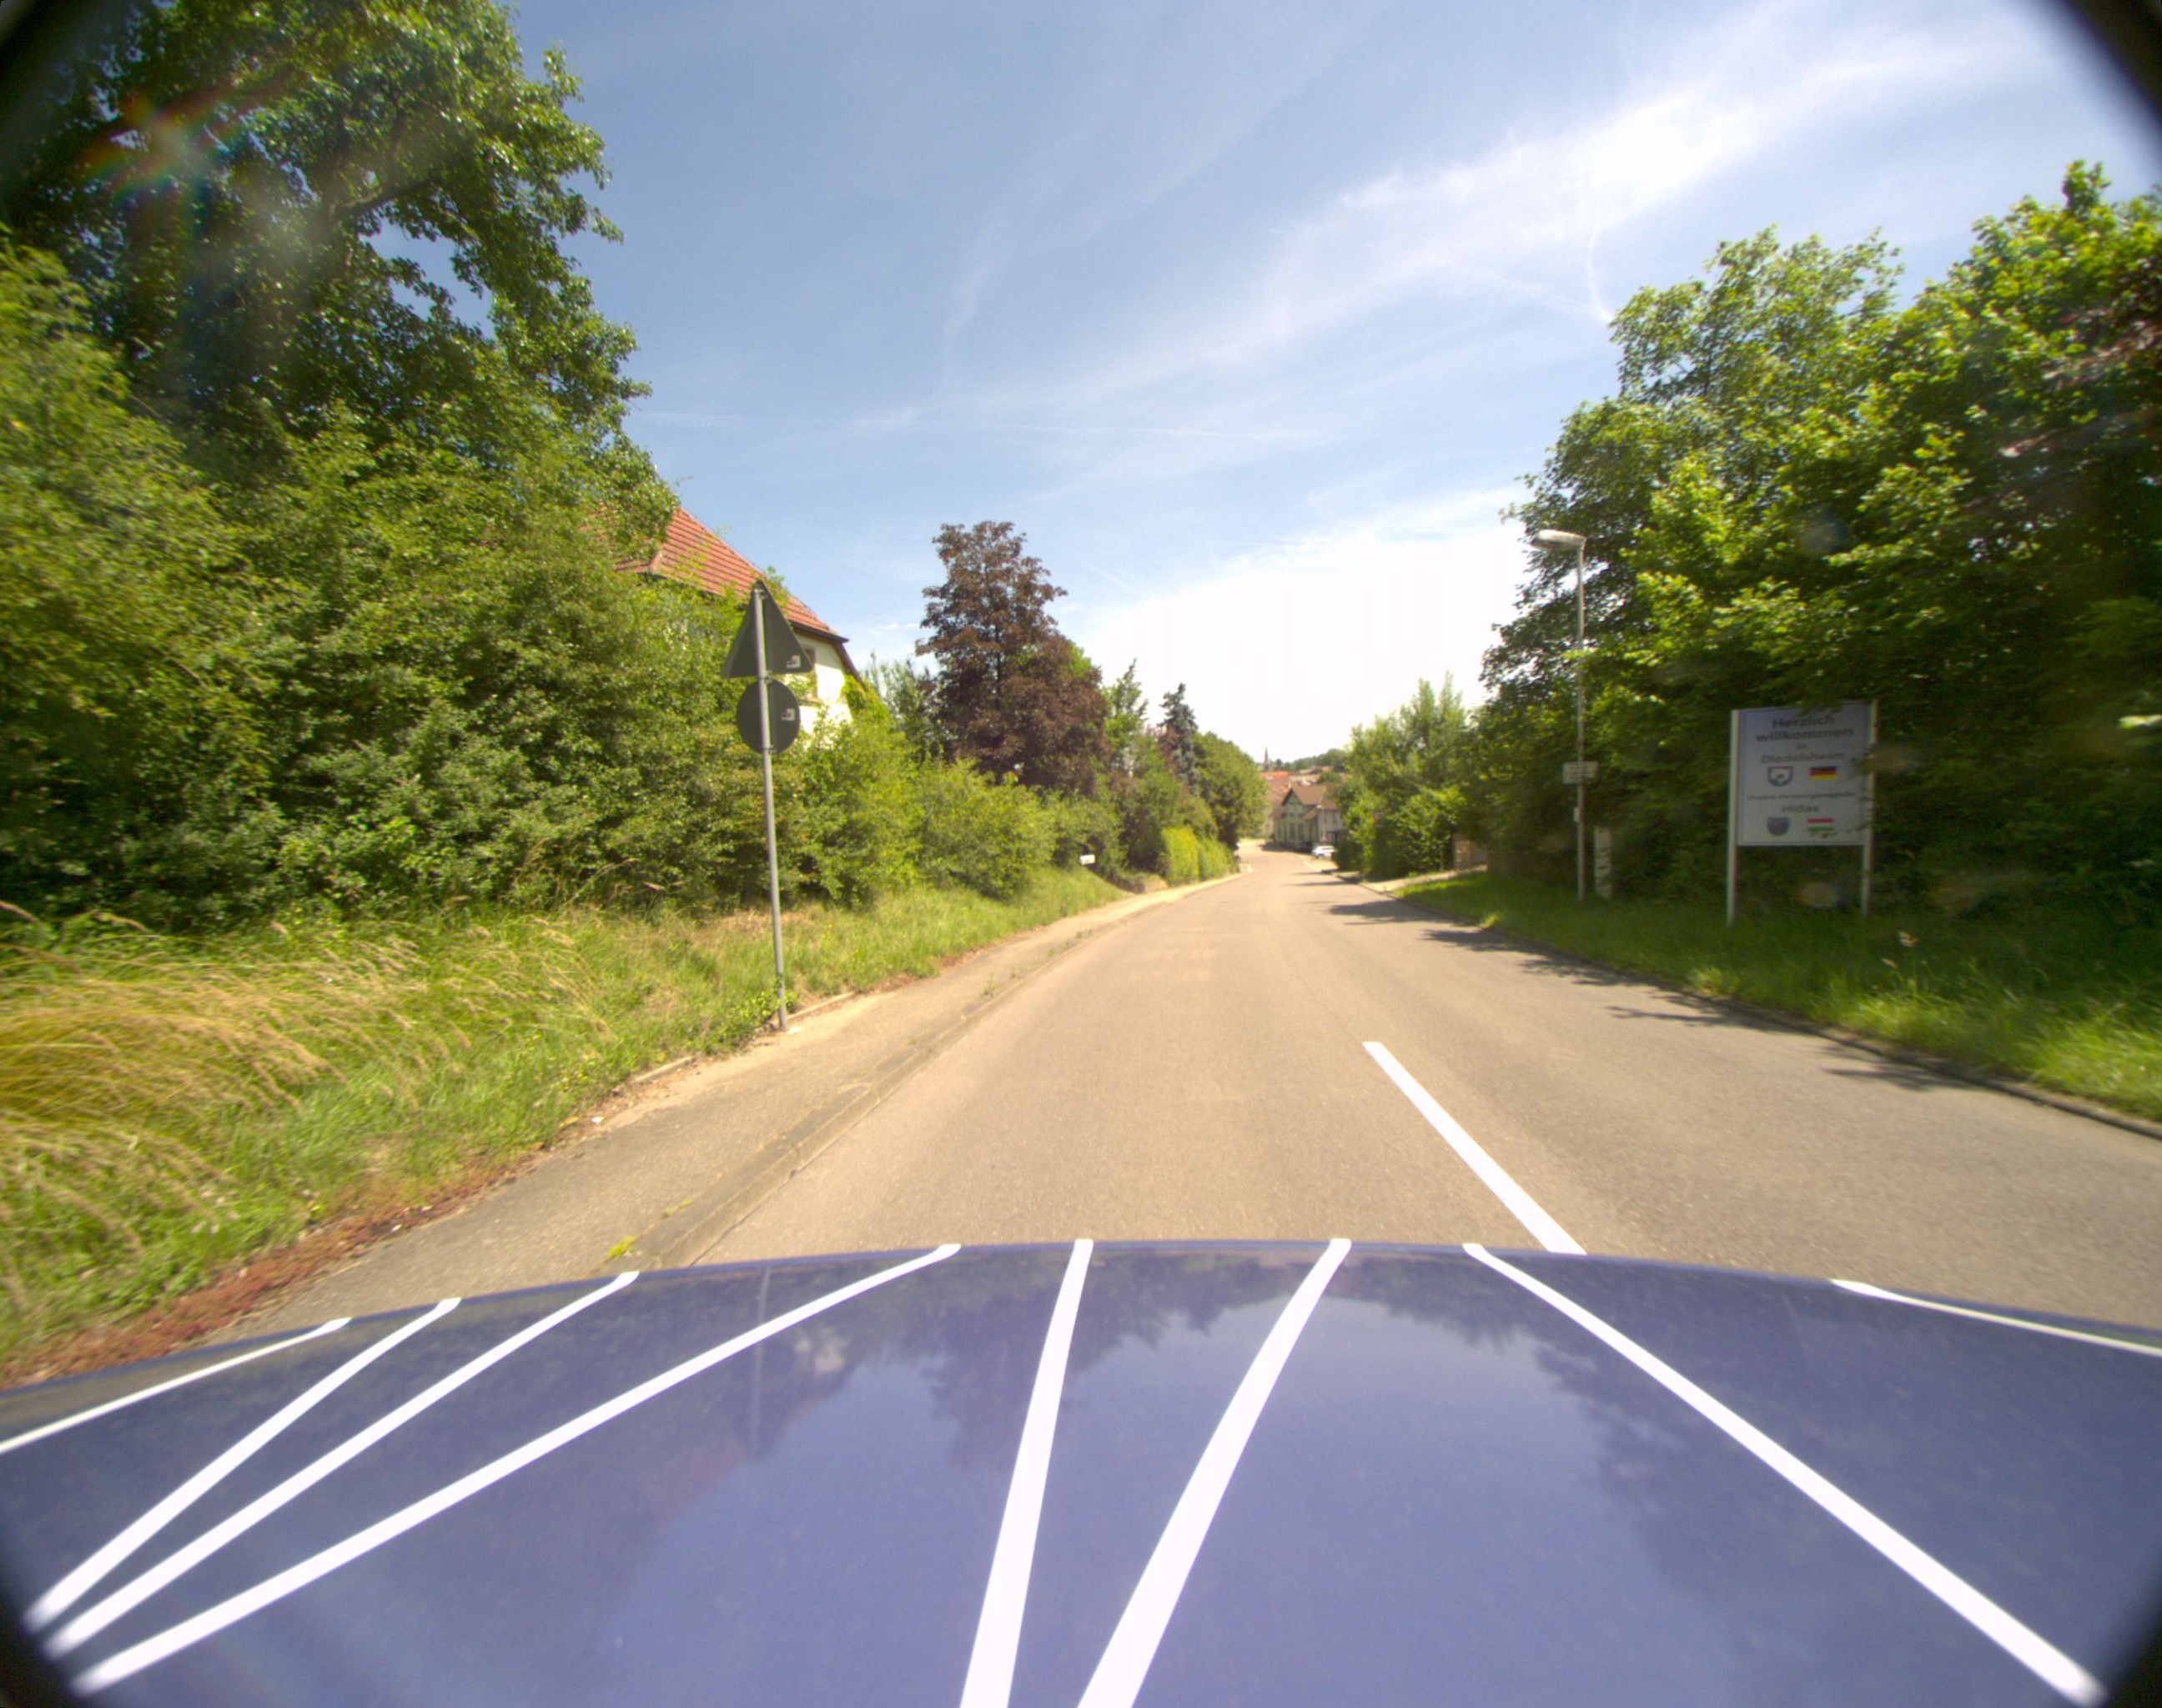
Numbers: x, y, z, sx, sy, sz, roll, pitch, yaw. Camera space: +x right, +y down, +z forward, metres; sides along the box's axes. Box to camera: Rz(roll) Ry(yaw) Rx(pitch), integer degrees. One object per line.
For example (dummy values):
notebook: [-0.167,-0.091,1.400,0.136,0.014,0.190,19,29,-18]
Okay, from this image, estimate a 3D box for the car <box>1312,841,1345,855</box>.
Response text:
car: [30.997,-0.781,95.197,3.579,1.377,1.515,-6,2,3]
